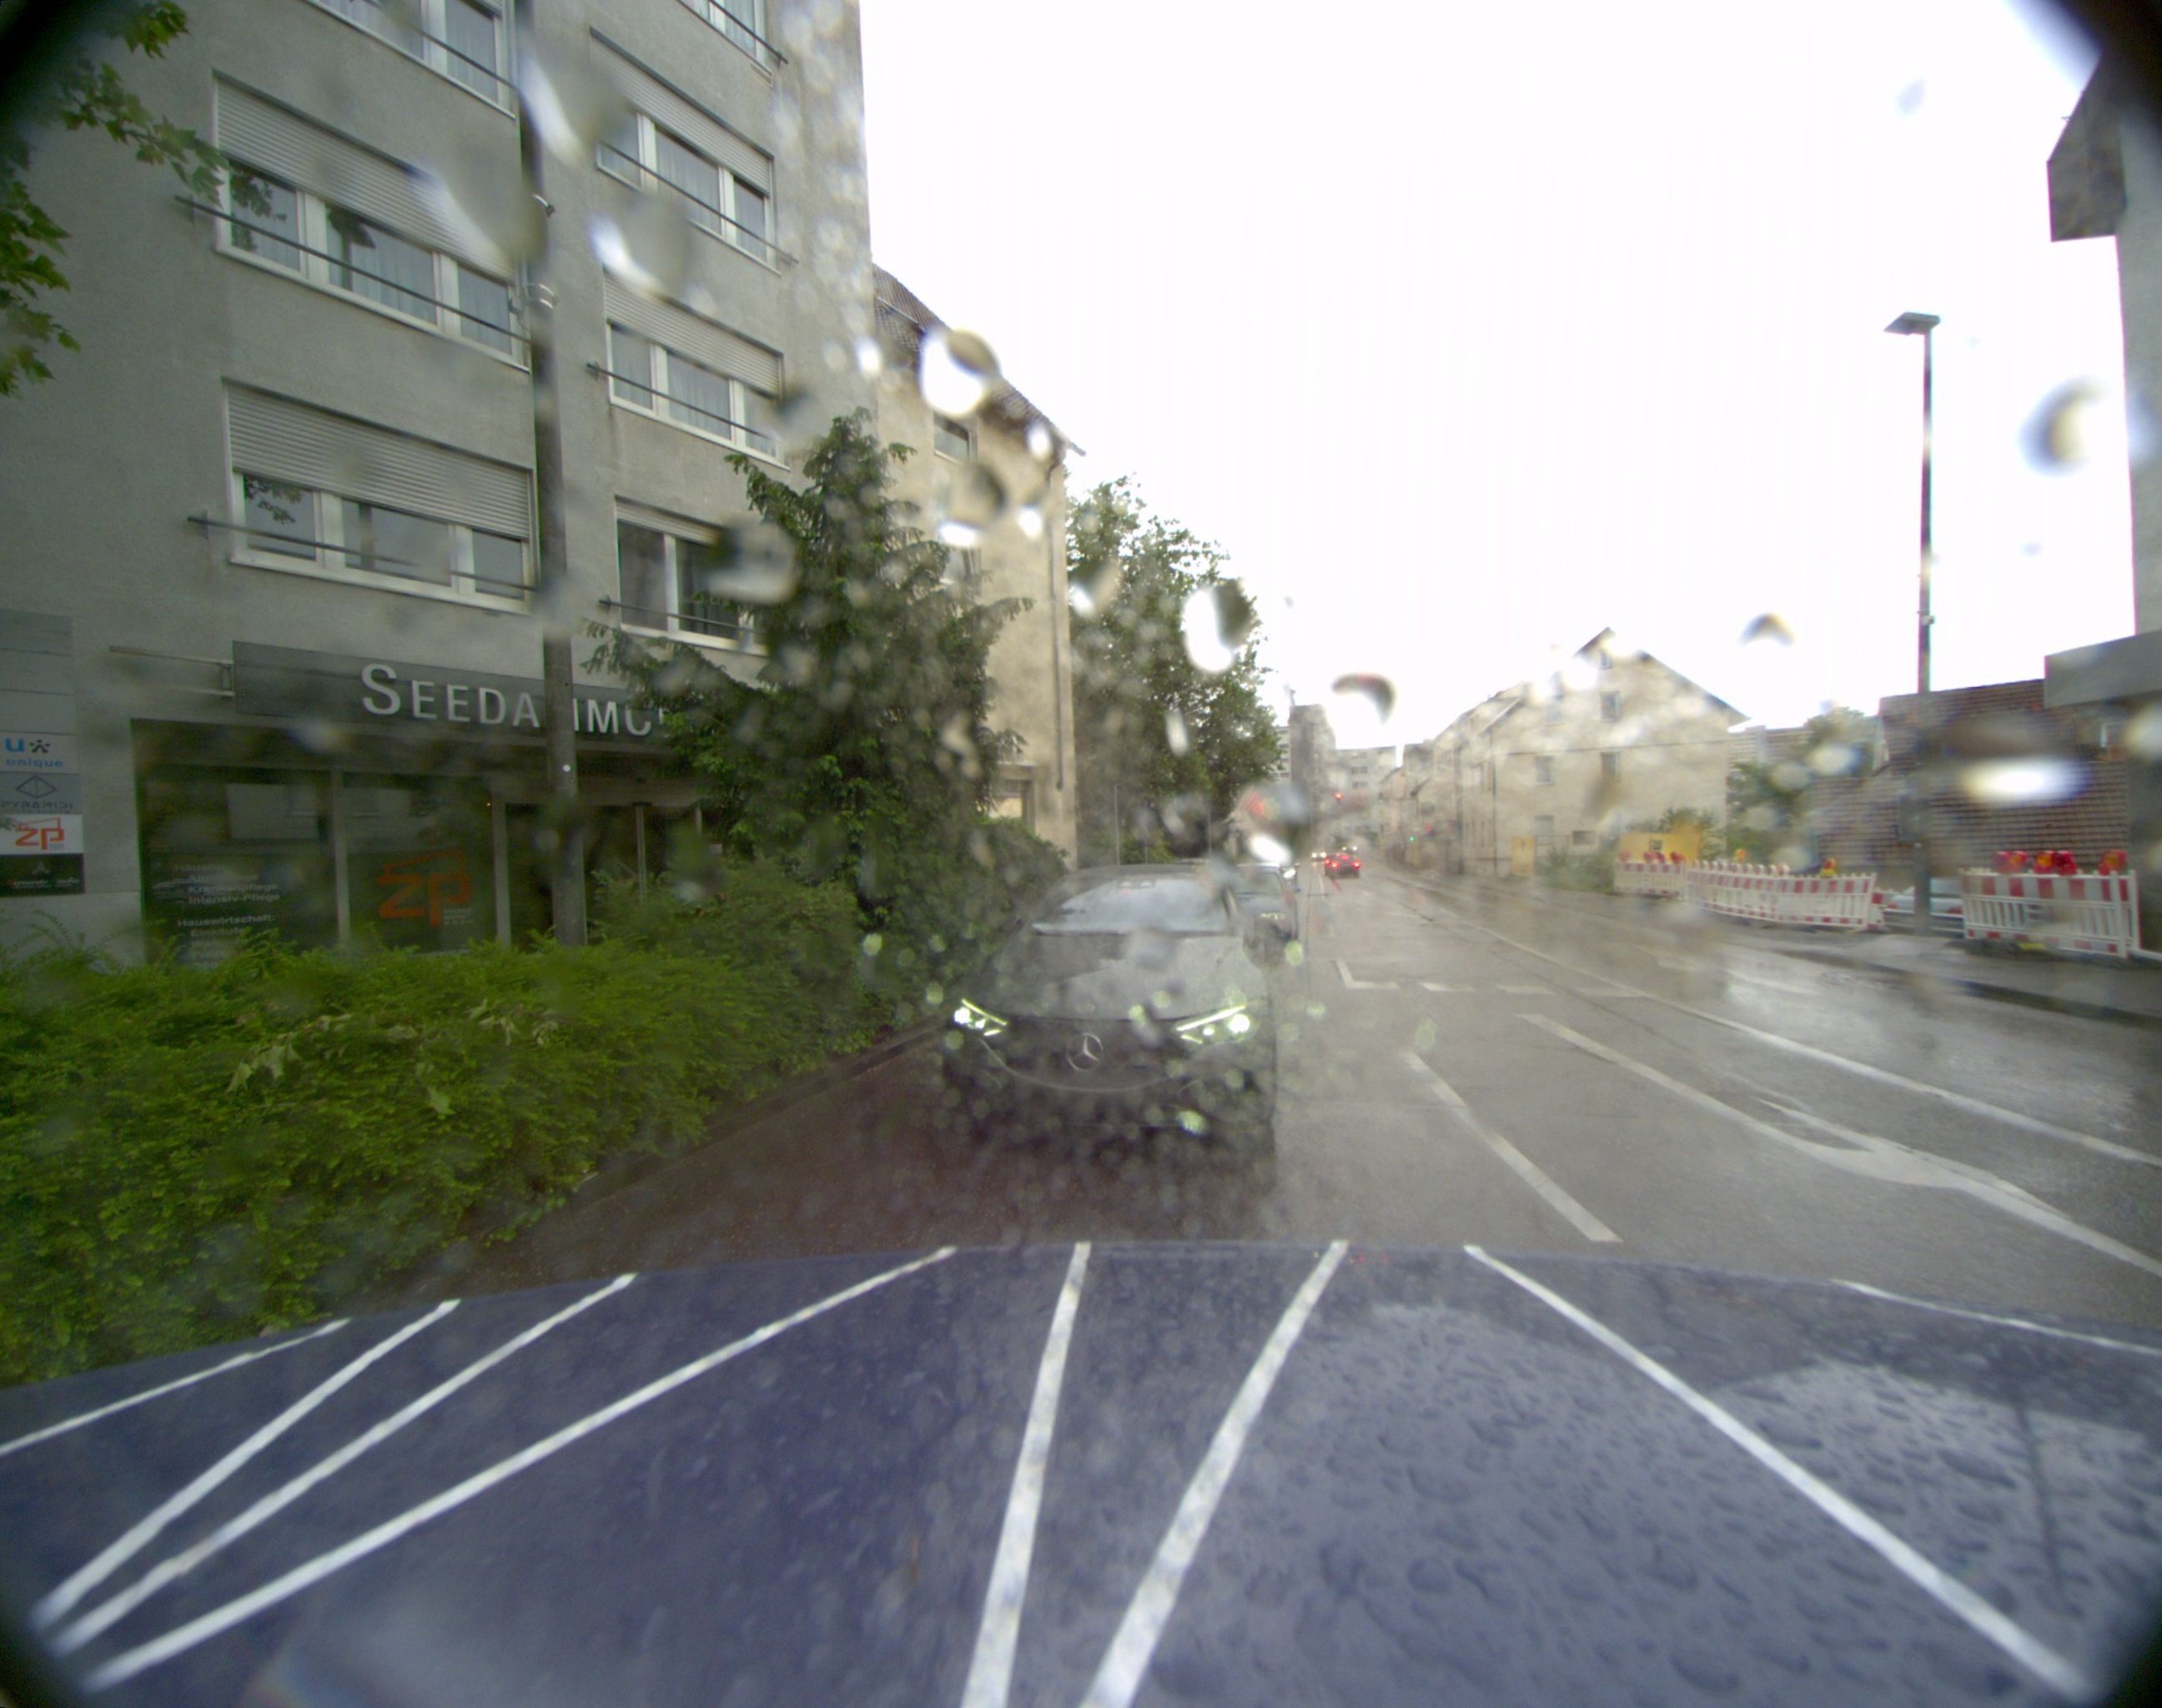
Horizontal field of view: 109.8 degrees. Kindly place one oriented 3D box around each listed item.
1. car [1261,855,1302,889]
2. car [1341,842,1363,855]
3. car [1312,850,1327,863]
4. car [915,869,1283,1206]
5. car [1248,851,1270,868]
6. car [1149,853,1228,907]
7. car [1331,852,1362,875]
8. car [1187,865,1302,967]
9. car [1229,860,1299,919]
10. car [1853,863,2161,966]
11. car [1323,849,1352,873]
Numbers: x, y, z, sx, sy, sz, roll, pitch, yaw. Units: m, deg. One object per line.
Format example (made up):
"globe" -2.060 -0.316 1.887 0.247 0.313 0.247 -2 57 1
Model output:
"car" 9.504 0.815 35.810 1.684 1.452 4.005 -2 0 17
"car" 40.514 -0.830 113.567 1.789 1.841 3.843 -2 0 38
"car" 29.237 0.323 93.274 1.613 1.495 3.722 -3 0 17
"car" 0.469 0.965 5.930 1.819 1.562 4.279 -2 -1 11
"car" 18.134 0.589 77.288 1.818 1.635 4.281 -2 -1 16
"car" 4.032 0.871 27.808 1.933 1.770 4.740 -1 0 20
"car" 17.292 0.585 49.628 1.709 1.375 3.674 -2 0 16
"car" 2.965 0.950 13.215 1.639 1.424 3.810 -1 0 17
"car" 5.144 0.925 21.230 1.685 1.413 4.004 -2 0 14
"car" 16.415 1.030 13.439 3.505 1.382 1.653 6 -1 8
"car" 18.836 0.478 55.927 1.818 1.635 4.281 -2 -1 16
